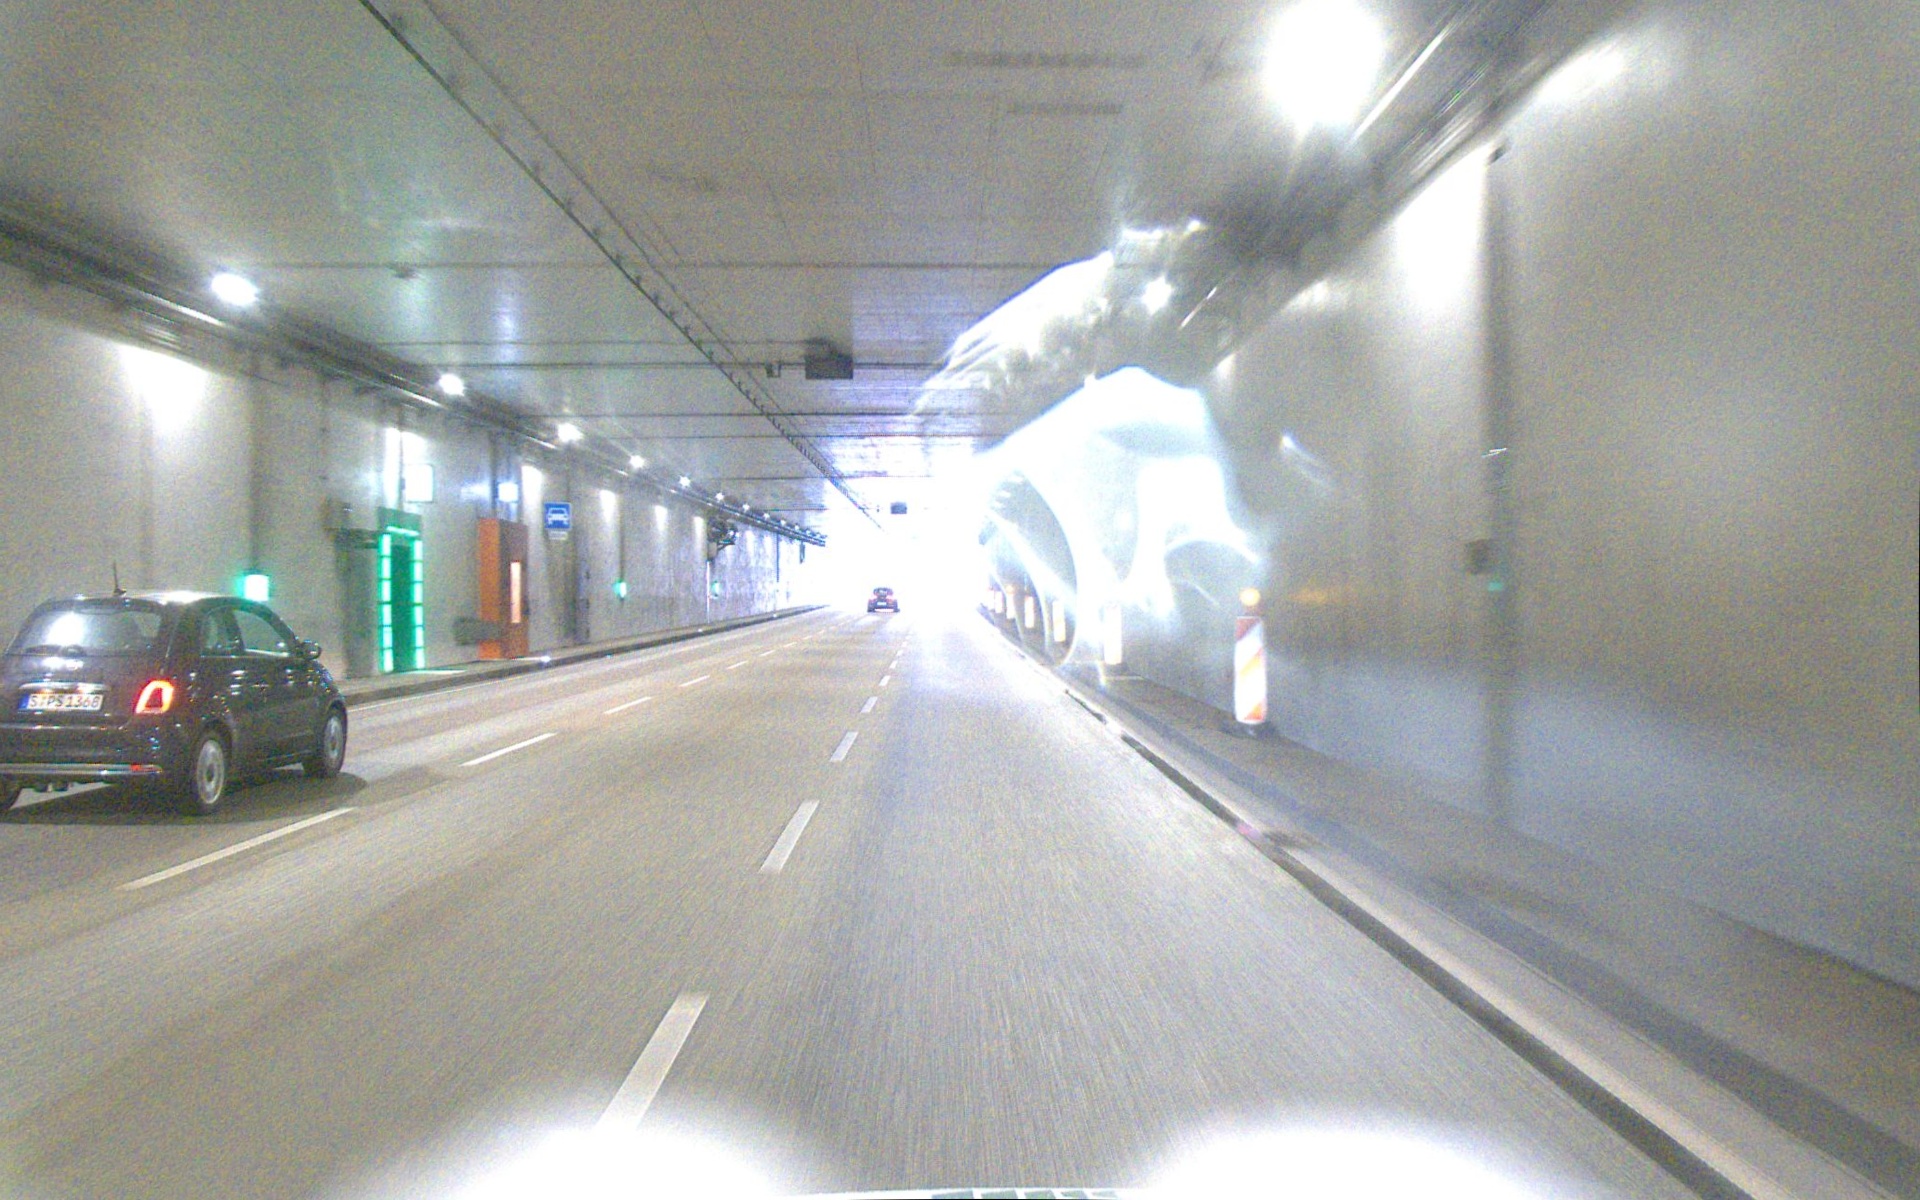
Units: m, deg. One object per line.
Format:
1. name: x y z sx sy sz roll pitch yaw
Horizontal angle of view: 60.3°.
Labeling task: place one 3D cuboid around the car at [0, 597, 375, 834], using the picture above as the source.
1. car: -5.684 0.725 12.208 1.580 1.480 3.571 1 0 -3

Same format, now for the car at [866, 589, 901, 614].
1. car: -4.595 0.076 98.691 1.954 1.473 4.311 1 0 -4

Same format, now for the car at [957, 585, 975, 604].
1. car: 0.612 -0.646 183.087 1.953 2.049 3.999 0 -1 -1

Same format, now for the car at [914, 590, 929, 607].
1. car: -4.886 -0.200 209.001 1.953 2.049 3.998 0 -1 -2

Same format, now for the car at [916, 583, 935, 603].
1. car: -3.527 -0.716 169.061 1.953 2.049 3.999 0 -1 -1
